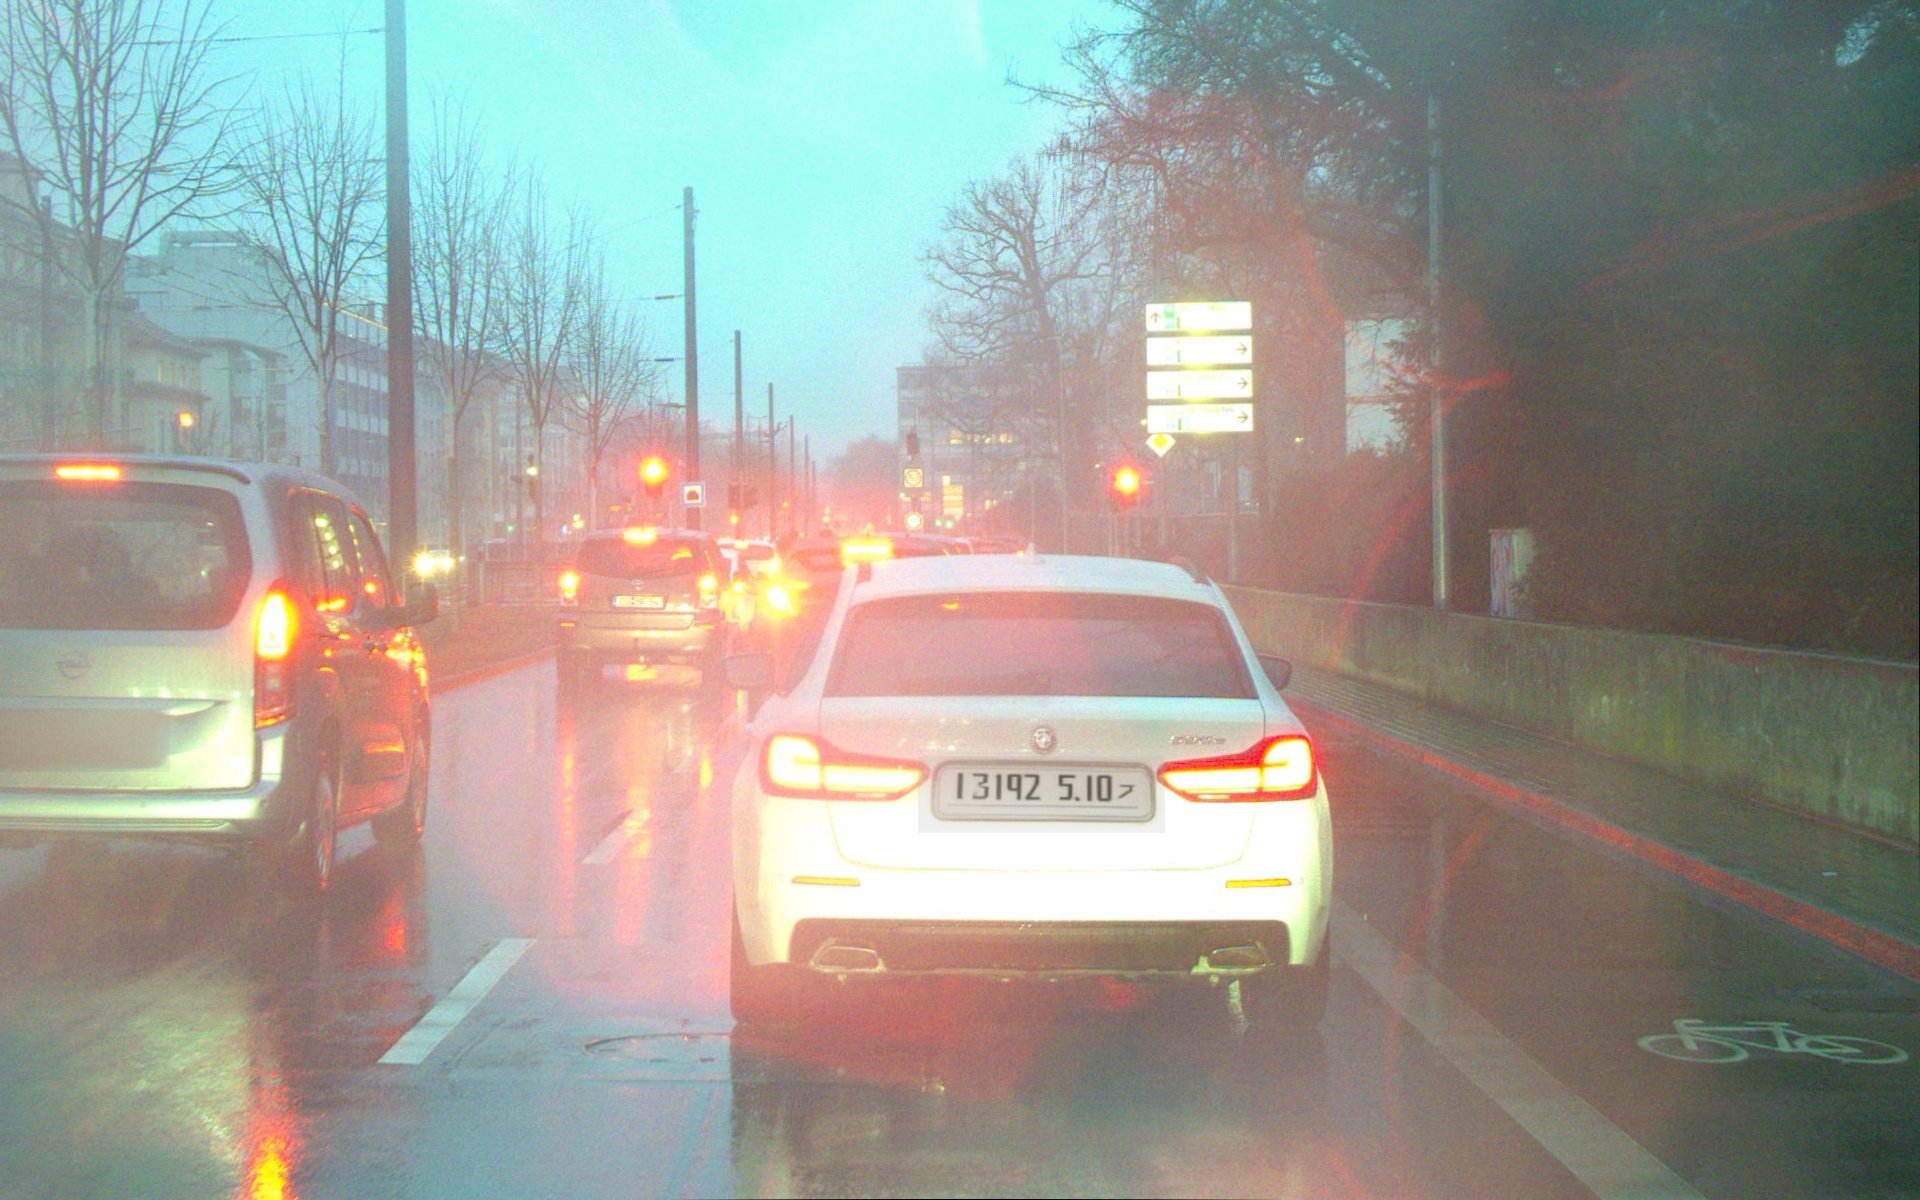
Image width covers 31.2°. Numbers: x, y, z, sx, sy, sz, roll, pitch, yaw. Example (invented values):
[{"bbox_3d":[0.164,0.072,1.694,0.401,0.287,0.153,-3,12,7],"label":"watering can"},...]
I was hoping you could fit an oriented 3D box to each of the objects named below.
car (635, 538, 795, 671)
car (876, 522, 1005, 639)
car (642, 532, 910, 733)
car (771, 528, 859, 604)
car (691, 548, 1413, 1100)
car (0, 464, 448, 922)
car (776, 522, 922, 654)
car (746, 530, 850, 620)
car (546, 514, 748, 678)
[{"bbox_3d":[-3.369,0.038,47.922,1.993,1.749,4.000,1,1,-1],"label":"car"},{"bbox_3d":[-0.294,-0.325,50.763,1.806,1.640,4.000,1,1,0],"label":"car"},{"bbox_3d":[-1.379,0.199,27.226,1.936,1.452,4.164,0,1,-1],"label":"car"},{"bbox_3d":[-3.212,-0.780,76.506,1.806,1.640,4.000,1,1,0],"label":"car"},{"bbox_3d":[0.232,0.592,11.637,1.999,1.503,4.164,0,1,-1],"label":"car"},{"bbox_3d":[-3.441,0.318,15.332,1.793,1.730,4.538,1,1,-2],"label":"car"},{"bbox_3d":[-1.418,-0.194,45.304,1.806,1.640,4.000,1,1,0],"label":"car"},{"bbox_3d":[-3.054,-0.497,65.573,1.806,1.640,4.000,1,1,0],"label":"car"},{"bbox_3d":[-3.284,-0.085,36.718,1.806,1.640,4.000,1,1,0],"label":"car"}]
